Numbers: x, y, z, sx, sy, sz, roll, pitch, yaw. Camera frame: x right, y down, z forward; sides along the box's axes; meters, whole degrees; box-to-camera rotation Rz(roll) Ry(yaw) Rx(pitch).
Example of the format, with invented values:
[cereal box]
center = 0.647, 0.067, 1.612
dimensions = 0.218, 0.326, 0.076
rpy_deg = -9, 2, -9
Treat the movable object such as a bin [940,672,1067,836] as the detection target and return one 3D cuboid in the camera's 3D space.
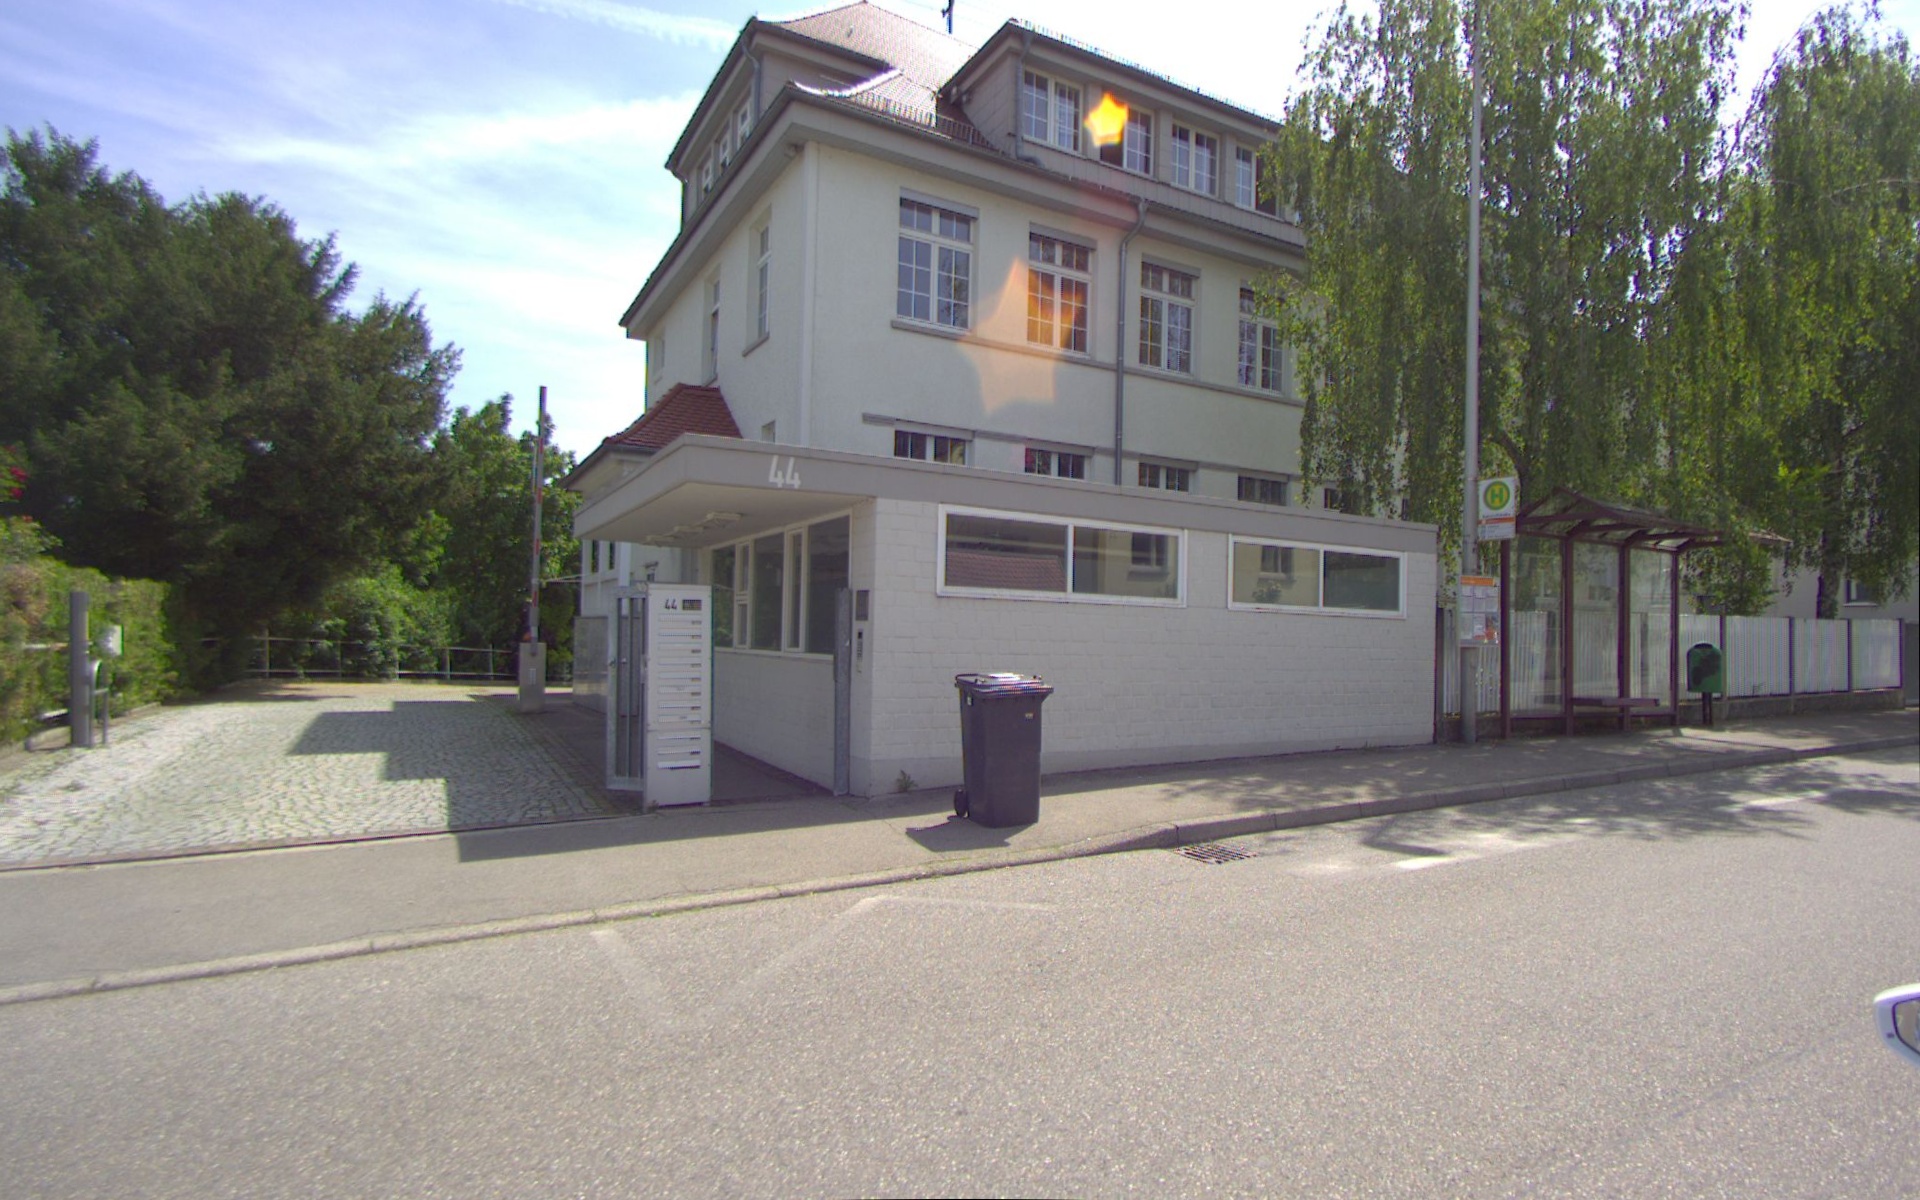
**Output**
[movable object such as a bin]
center = 0.315, 1.092, 7.352
dimensions = 0.716, 1.060, 0.605
rpy_deg = -1, 0, -30
